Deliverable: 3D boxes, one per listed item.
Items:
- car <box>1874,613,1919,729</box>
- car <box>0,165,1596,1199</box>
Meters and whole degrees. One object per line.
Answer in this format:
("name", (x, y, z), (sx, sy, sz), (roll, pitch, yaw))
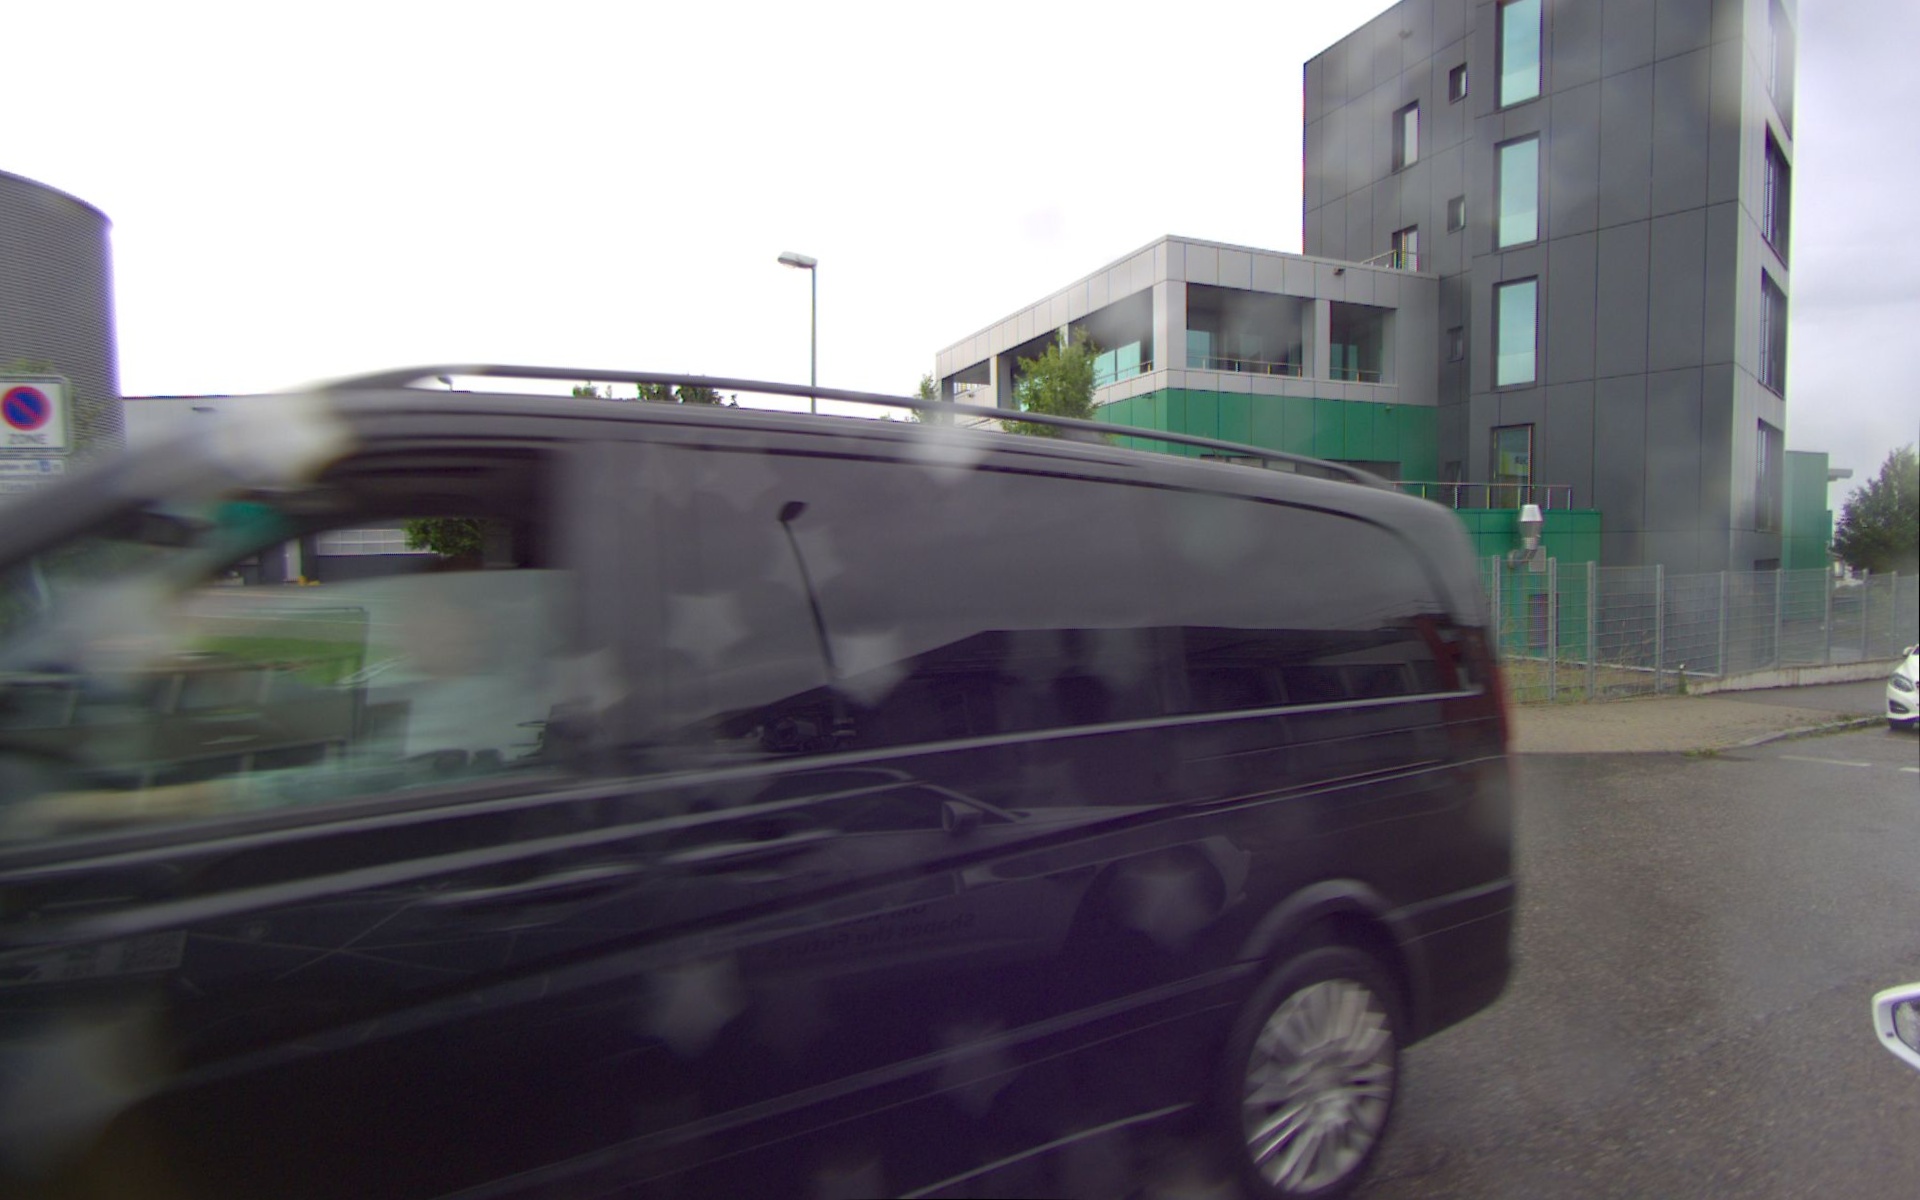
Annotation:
("car", (14.649, 1.014, 14.226), (4.106, 1.533, 1.757), (2, -1, -37))
("car", (-0.780, 0.460, 2.499), (5.011, 1.911, 1.876), (1, -1, -30))
